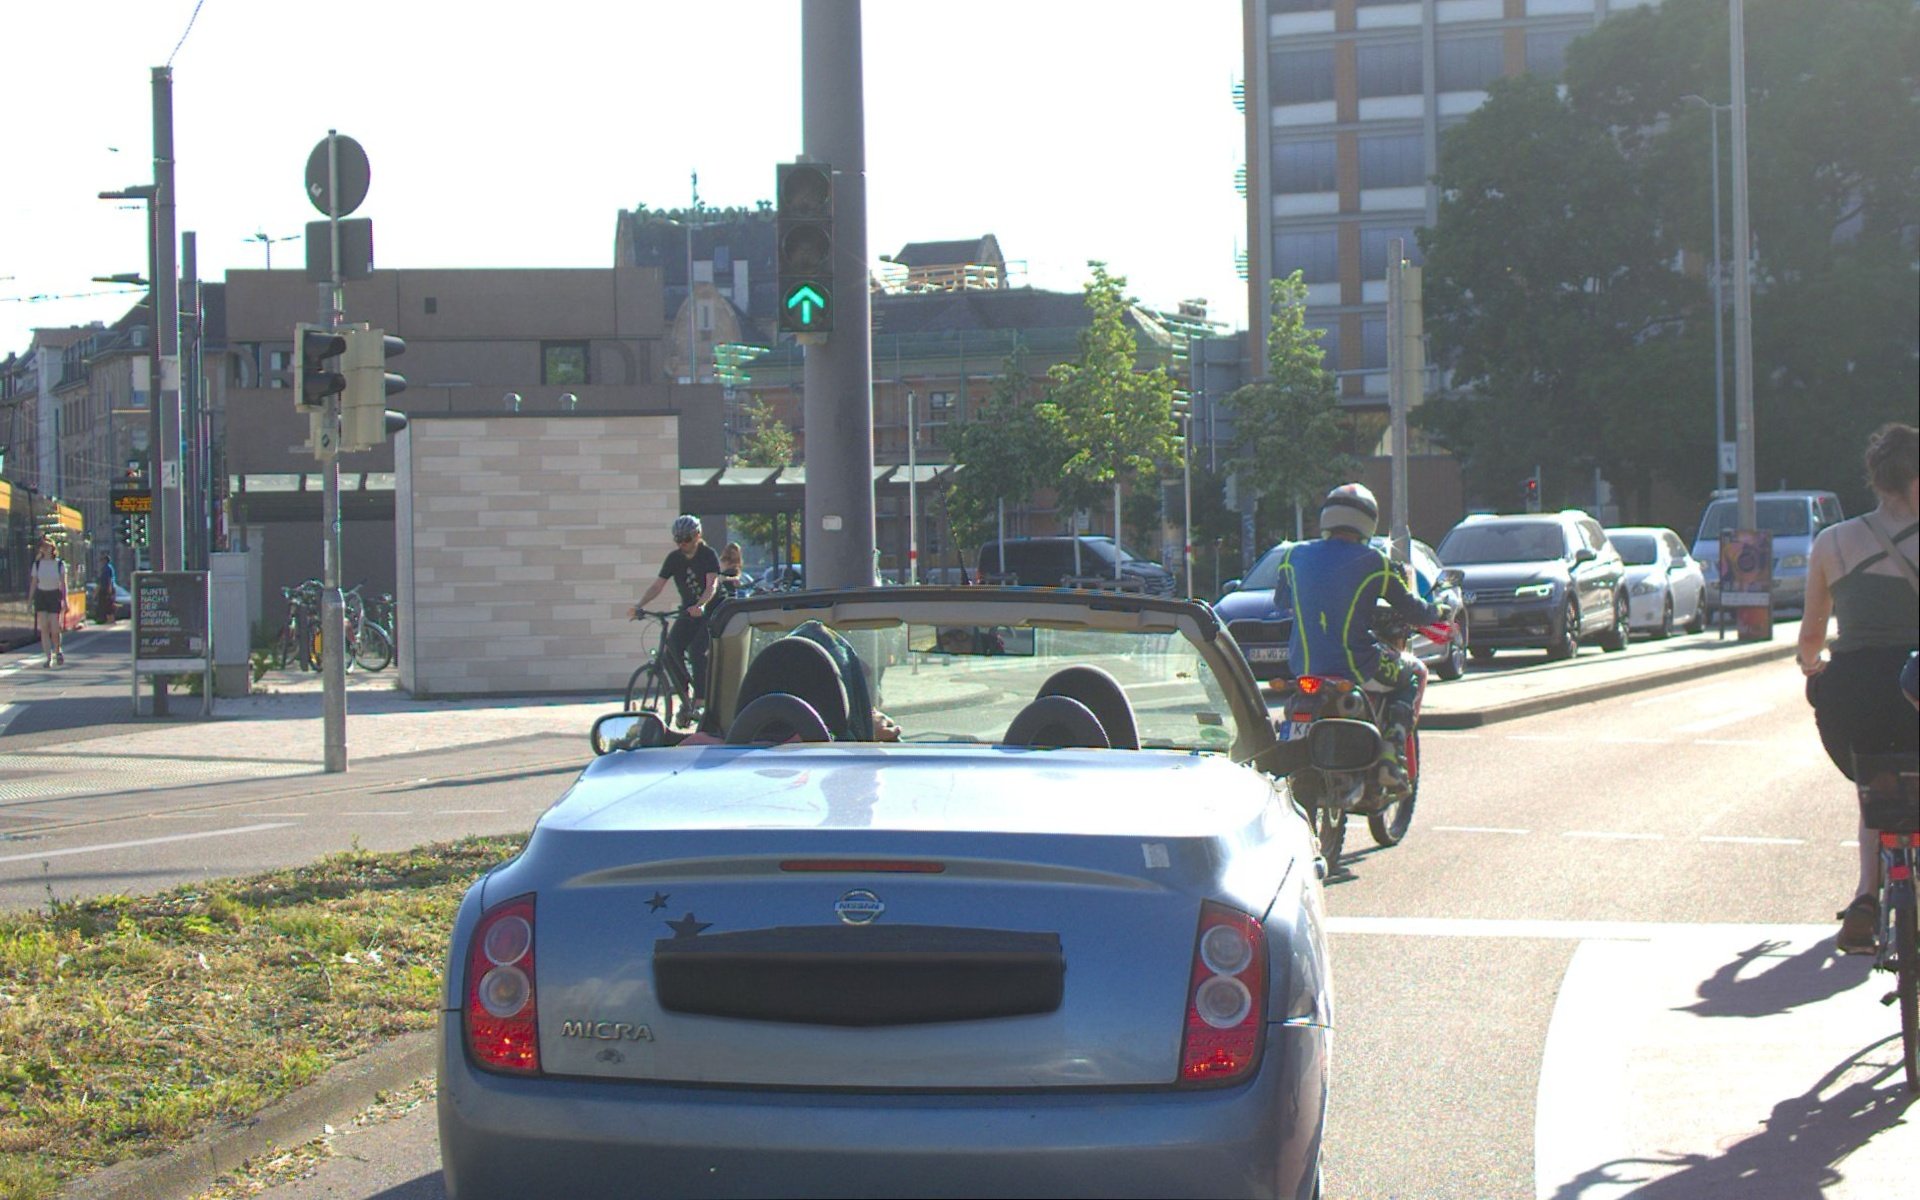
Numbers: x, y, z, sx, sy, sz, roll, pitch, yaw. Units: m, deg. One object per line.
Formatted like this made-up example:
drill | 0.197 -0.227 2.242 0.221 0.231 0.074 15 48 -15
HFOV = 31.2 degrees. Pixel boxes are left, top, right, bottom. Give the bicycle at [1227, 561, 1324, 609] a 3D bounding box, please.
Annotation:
bicycle | 8.010 -0.380 87.337 2.411 1.187 0.609 1 1 30

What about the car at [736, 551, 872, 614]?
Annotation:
car | -4.040 -0.456 88.514 1.640 1.555 3.599 -2 1 -39

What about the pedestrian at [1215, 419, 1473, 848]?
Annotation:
pedestrian | 1.743 0.138 15.534 0.835 1.862 0.919 1 0 30

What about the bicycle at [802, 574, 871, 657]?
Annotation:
bicycle | -1.715 0.203 47.615 0.606 1.111 1.897 1 1 -12

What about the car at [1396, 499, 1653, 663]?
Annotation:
car | 6.489 -0.247 39.102 1.763 1.700 4.525 -2 0 24

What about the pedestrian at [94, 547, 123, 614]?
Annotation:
pedestrian | -22.285 -0.515 89.960 0.604 1.743 0.832 -1 1 -8

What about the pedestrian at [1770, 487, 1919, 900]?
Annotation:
pedestrian | 3.609 0.356 13.853 0.588 1.593 1.024 1 0 17

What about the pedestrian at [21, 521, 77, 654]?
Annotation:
pedestrian | -12.089 -0.165 45.615 0.637 1.743 0.572 -1 1 -19

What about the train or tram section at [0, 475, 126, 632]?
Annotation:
train or tram section | -22.567 -1.142 84.631 3.039 3.584 12.055 1 1 -9

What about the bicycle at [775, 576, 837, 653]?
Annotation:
bicycle | -2.307 0.207 51.304 0.606 1.111 1.897 1 1 -12

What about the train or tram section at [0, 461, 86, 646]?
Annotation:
train or tram section | -20.500 -0.994 72.704 3.011 3.584 12.203 1 1 -10

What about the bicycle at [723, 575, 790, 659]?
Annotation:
bicycle | -2.802 0.224 47.228 0.606 1.111 1.897 1 1 -12

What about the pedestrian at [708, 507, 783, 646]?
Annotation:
pedestrian | -2.928 -0.316 46.814 0.900 1.862 0.687 1 0 -12

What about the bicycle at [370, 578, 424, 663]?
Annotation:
bicycle | -7.623 0.265 46.497 0.606 1.111 1.897 1 1 -12

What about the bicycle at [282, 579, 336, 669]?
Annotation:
bicycle | -8.360 0.299 44.103 0.606 1.111 1.897 1 1 -12

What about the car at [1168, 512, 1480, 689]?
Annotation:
car | 3.544 -0.011 32.862 1.739 1.568 3.919 1 1 25

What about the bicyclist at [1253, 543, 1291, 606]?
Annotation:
bicyclist | 7.934 -0.641 87.384 0.753 1.593 0.588 1 0 30

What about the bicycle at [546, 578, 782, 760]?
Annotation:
bicycle | -2.188 0.491 25.845 0.675 1.246 2.454 -3 0 22

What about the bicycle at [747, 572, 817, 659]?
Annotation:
bicycle | -2.351 0.190 45.296 0.606 1.111 1.897 1 1 -12

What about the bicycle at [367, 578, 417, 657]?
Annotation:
bicycle | -8.324 0.243 50.371 0.606 1.111 1.897 1 1 -12

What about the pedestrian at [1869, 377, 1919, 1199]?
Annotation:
pedestrian | 2.491 0.454 7.590 0.806 1.862 0.956 1 0 8

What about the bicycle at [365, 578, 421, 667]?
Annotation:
bicycle | -7.334 0.277 44.433 0.606 1.111 1.897 1 1 -12

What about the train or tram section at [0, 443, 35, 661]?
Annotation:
train or tram section | -18.159 -0.853 60.713 2.880 3.584 12.203 1 1 -12

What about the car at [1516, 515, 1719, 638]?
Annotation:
car | 8.847 -0.339 46.023 1.697 1.555 3.974 -1 1 25

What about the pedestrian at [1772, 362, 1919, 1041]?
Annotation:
pedestrian | 2.690 0.276 9.861 0.659 1.862 0.872 1 0 15

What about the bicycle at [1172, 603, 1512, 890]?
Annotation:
bicycle | 1.776 0.614 15.586 0.609 1.187 2.410 1 1 30

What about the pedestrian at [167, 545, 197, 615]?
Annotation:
pedestrian | -19.649 -0.516 86.794 0.637 1.743 0.736 -1 1 -19

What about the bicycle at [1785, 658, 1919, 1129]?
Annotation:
bicycle | 2.642 0.766 9.696 0.564 1.147 1.948 1 1 14

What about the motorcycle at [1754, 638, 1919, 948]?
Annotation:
motorcycle | 3.614 0.726 13.888 0.614 1.094 2.358 1 1 17

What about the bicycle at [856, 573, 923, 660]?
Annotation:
bicycle | -0.941 0.207 45.598 0.606 1.111 1.897 1 1 -10

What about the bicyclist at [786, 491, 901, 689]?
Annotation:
bicyclist | -0.986 -0.085 29.200 0.709 1.651 0.742 -1 1 22

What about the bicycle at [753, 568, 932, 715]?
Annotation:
bicycle | -0.976 0.333 29.211 0.675 1.176 2.181 -1 1 22

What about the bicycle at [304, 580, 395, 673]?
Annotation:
bicycle | -7.540 0.317 42.498 0.607 1.111 1.896 1 1 5

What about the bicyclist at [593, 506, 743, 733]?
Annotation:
bicyclist | -2.192 0.140 25.892 0.709 1.651 0.900 -3 0 22

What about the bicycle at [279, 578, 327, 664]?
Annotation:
bicycle | -8.794 0.274 46.028 0.606 1.111 1.897 1 1 -11

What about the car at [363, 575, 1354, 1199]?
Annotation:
car | 0.044 0.676 7.819 1.660 1.436 4.153 1 1 6

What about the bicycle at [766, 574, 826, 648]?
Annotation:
bicycle | -2.555 0.161 53.275 0.606 1.111 1.897 1 1 -12

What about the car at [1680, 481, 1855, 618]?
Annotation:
car | 12.477 -0.790 52.925 1.911 1.938 4.701 -2 0 21

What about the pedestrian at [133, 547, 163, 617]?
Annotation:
pedestrian | -20.453 -0.444 86.574 0.637 1.743 0.736 -1 1 -19
